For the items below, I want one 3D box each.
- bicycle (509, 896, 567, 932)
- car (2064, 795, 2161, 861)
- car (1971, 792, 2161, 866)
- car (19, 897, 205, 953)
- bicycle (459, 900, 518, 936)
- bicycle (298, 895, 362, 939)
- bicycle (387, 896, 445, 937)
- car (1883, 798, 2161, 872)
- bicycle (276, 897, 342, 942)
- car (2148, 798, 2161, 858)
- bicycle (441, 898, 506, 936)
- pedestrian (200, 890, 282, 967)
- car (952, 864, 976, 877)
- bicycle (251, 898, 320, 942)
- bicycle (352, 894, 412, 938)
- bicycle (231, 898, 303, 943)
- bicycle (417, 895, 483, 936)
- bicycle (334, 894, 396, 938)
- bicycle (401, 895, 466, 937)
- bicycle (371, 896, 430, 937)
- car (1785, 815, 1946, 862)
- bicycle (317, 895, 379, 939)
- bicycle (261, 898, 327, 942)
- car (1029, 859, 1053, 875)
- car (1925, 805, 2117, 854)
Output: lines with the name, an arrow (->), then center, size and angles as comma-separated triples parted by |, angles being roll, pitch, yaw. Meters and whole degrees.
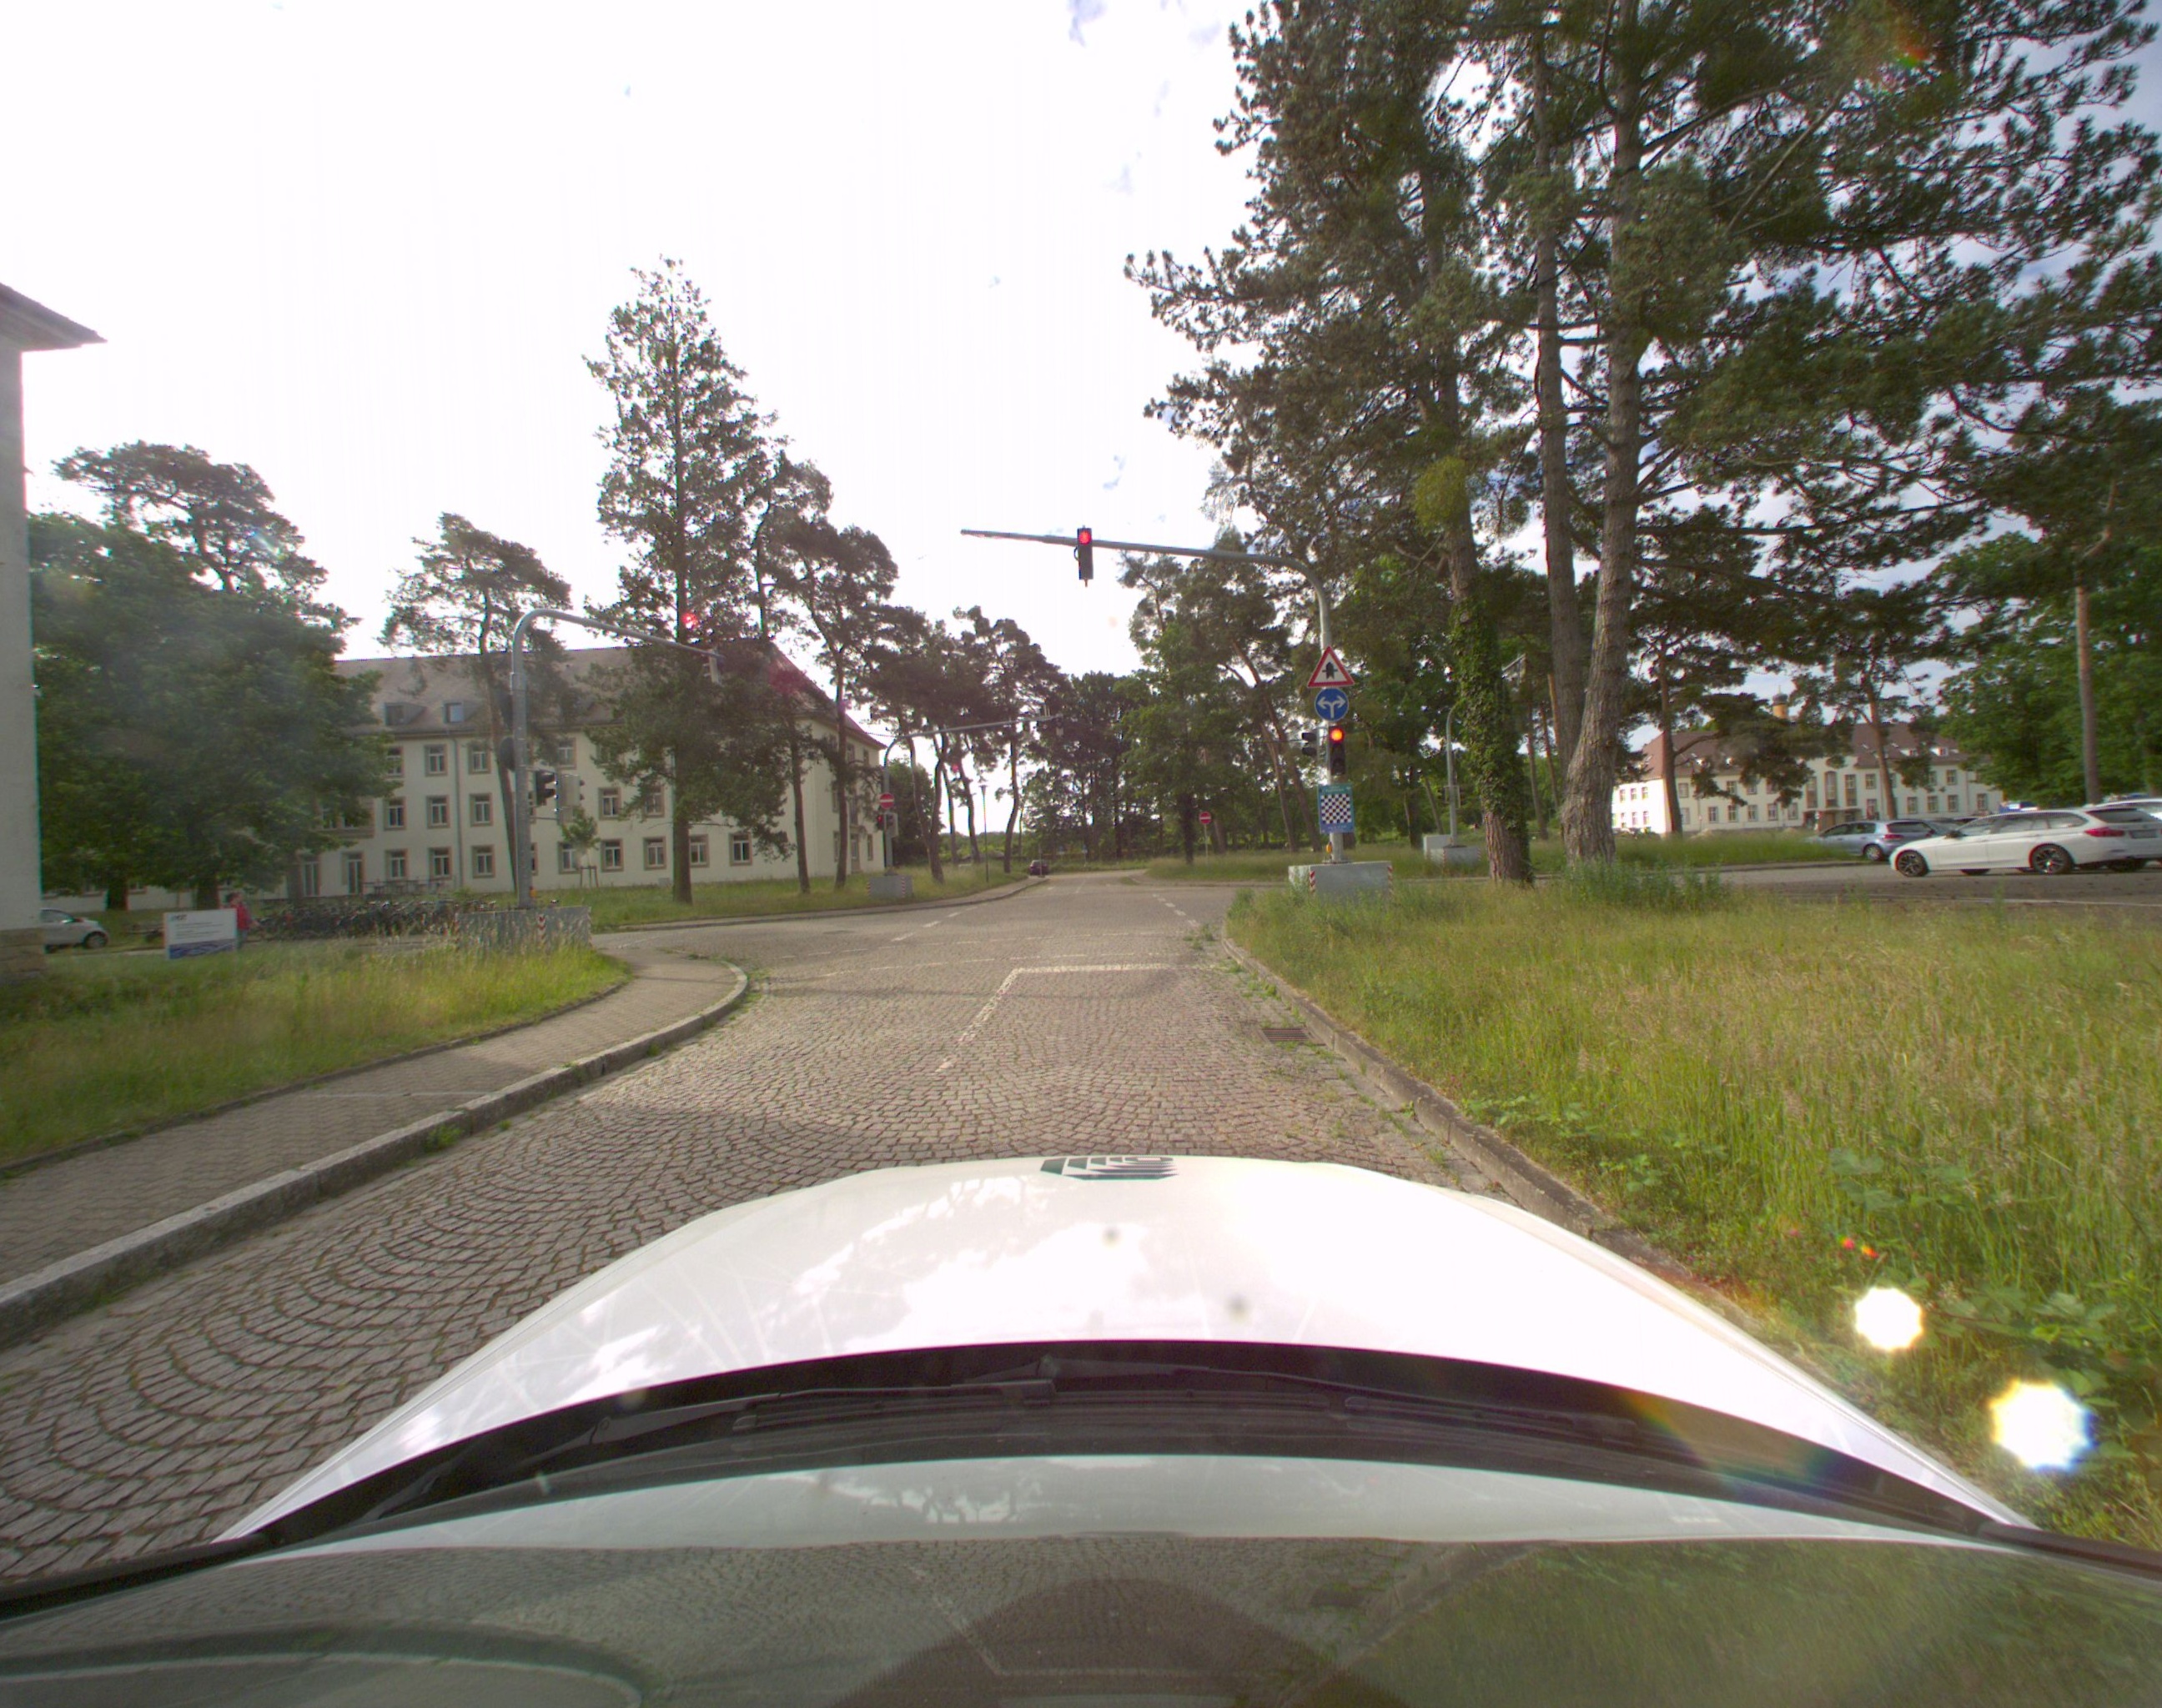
bicycle -> -16.735, 1.835, 25.107 | 1.454, 0.996, 0.452 | -3, 0, 2
car -> 26.646, -0.670, 19.024 | 1.862, 1.577, 4.444 | -3, 0, -2
car -> 23.962, -0.573, 18.787 | 1.862, 1.577, 4.444 | -3, 0, -2
car -> -34.267, 2.468, 28.988 | 1.833, 1.556, 3.898 | -3, 0, 2
bicycle -> -18.256, 1.969, 25.088 | 1.454, 0.996, 0.452 | -3, 0, 2
bicycle -> -24.342, 2.032, 26.438 | 0.447, 1.283, 1.695 | -3, 0, 0
bicycle -> -21.560, 2.020, 26.454 | 0.447, 1.178, 1.695 | -3, 0, 0
car -> 21.387, -0.358, 18.533 | 1.748, 1.415, 4.444 | -3, -1, -2
bicycle -> -25.005, 2.103, 26.412 | 0.447, 1.283, 1.695 | -3, 0, 0
car -> 29.377, -0.738, 19.450 | 1.862, 1.577, 4.444 | -3, 0, -2
bicycle -> -19.766, 2.027, 26.555 | 0.573, 1.078, 1.996 | -3, 0, 0
pedestrian -> -19.628, 1.726, 19.053 | 0.855, 1.668, 0.941 | -3, 0, 5
car -> -11.978, 1.692, 83.496 | 1.682, 1.156, 4.002 | -3, 0, 2
bicycle -> -25.959, 2.128, 26.601 | 0.441, 1.283, 1.785 | -3, 0, 0
bicycle -> -22.759, 1.989, 26.543 | 0.447, 1.283, 1.695 | -3, 0, 0
bicycle -> -26.424, 2.143, 26.469 | 0.447, 1.283, 1.827 | -3, 0, 0
bicycle -> -20.464, 1.977, 26.472 | 0.573, 1.178, 1.953 | -3, 0, 0
bicycle -> -23.264, 2.002, 26.502 | 0.447, 1.283, 1.695 | -3, 0, 0
bicycle -> -21.047, 1.994, 26.509 | 0.526, 1.178, 1.930 | -3, 0, 0
bicycle -> -22.046, 2.020, 26.434 | 0.447, 1.178, 1.695 | -3, 0, 0
car -> 28.849, -0.538, 30.189 | 1.745, 1.524, 4.450 | -3, 0, 2
bicycle -> -23.779, 2.016, 26.460 | 0.447, 1.283, 1.695 | -3, 0, 0
bicycle -> -25.491, 2.116, 26.401 | 0.447, 1.283, 1.695 | -3, 0, 0
car -> -4.032, 1.311, 82.301 | 1.986, 1.508, 4.002 | -1, 0, 2
car -> 33.916, -0.822, 29.607 | 1.748, 1.524, 4.444 | -3, 0, -2
